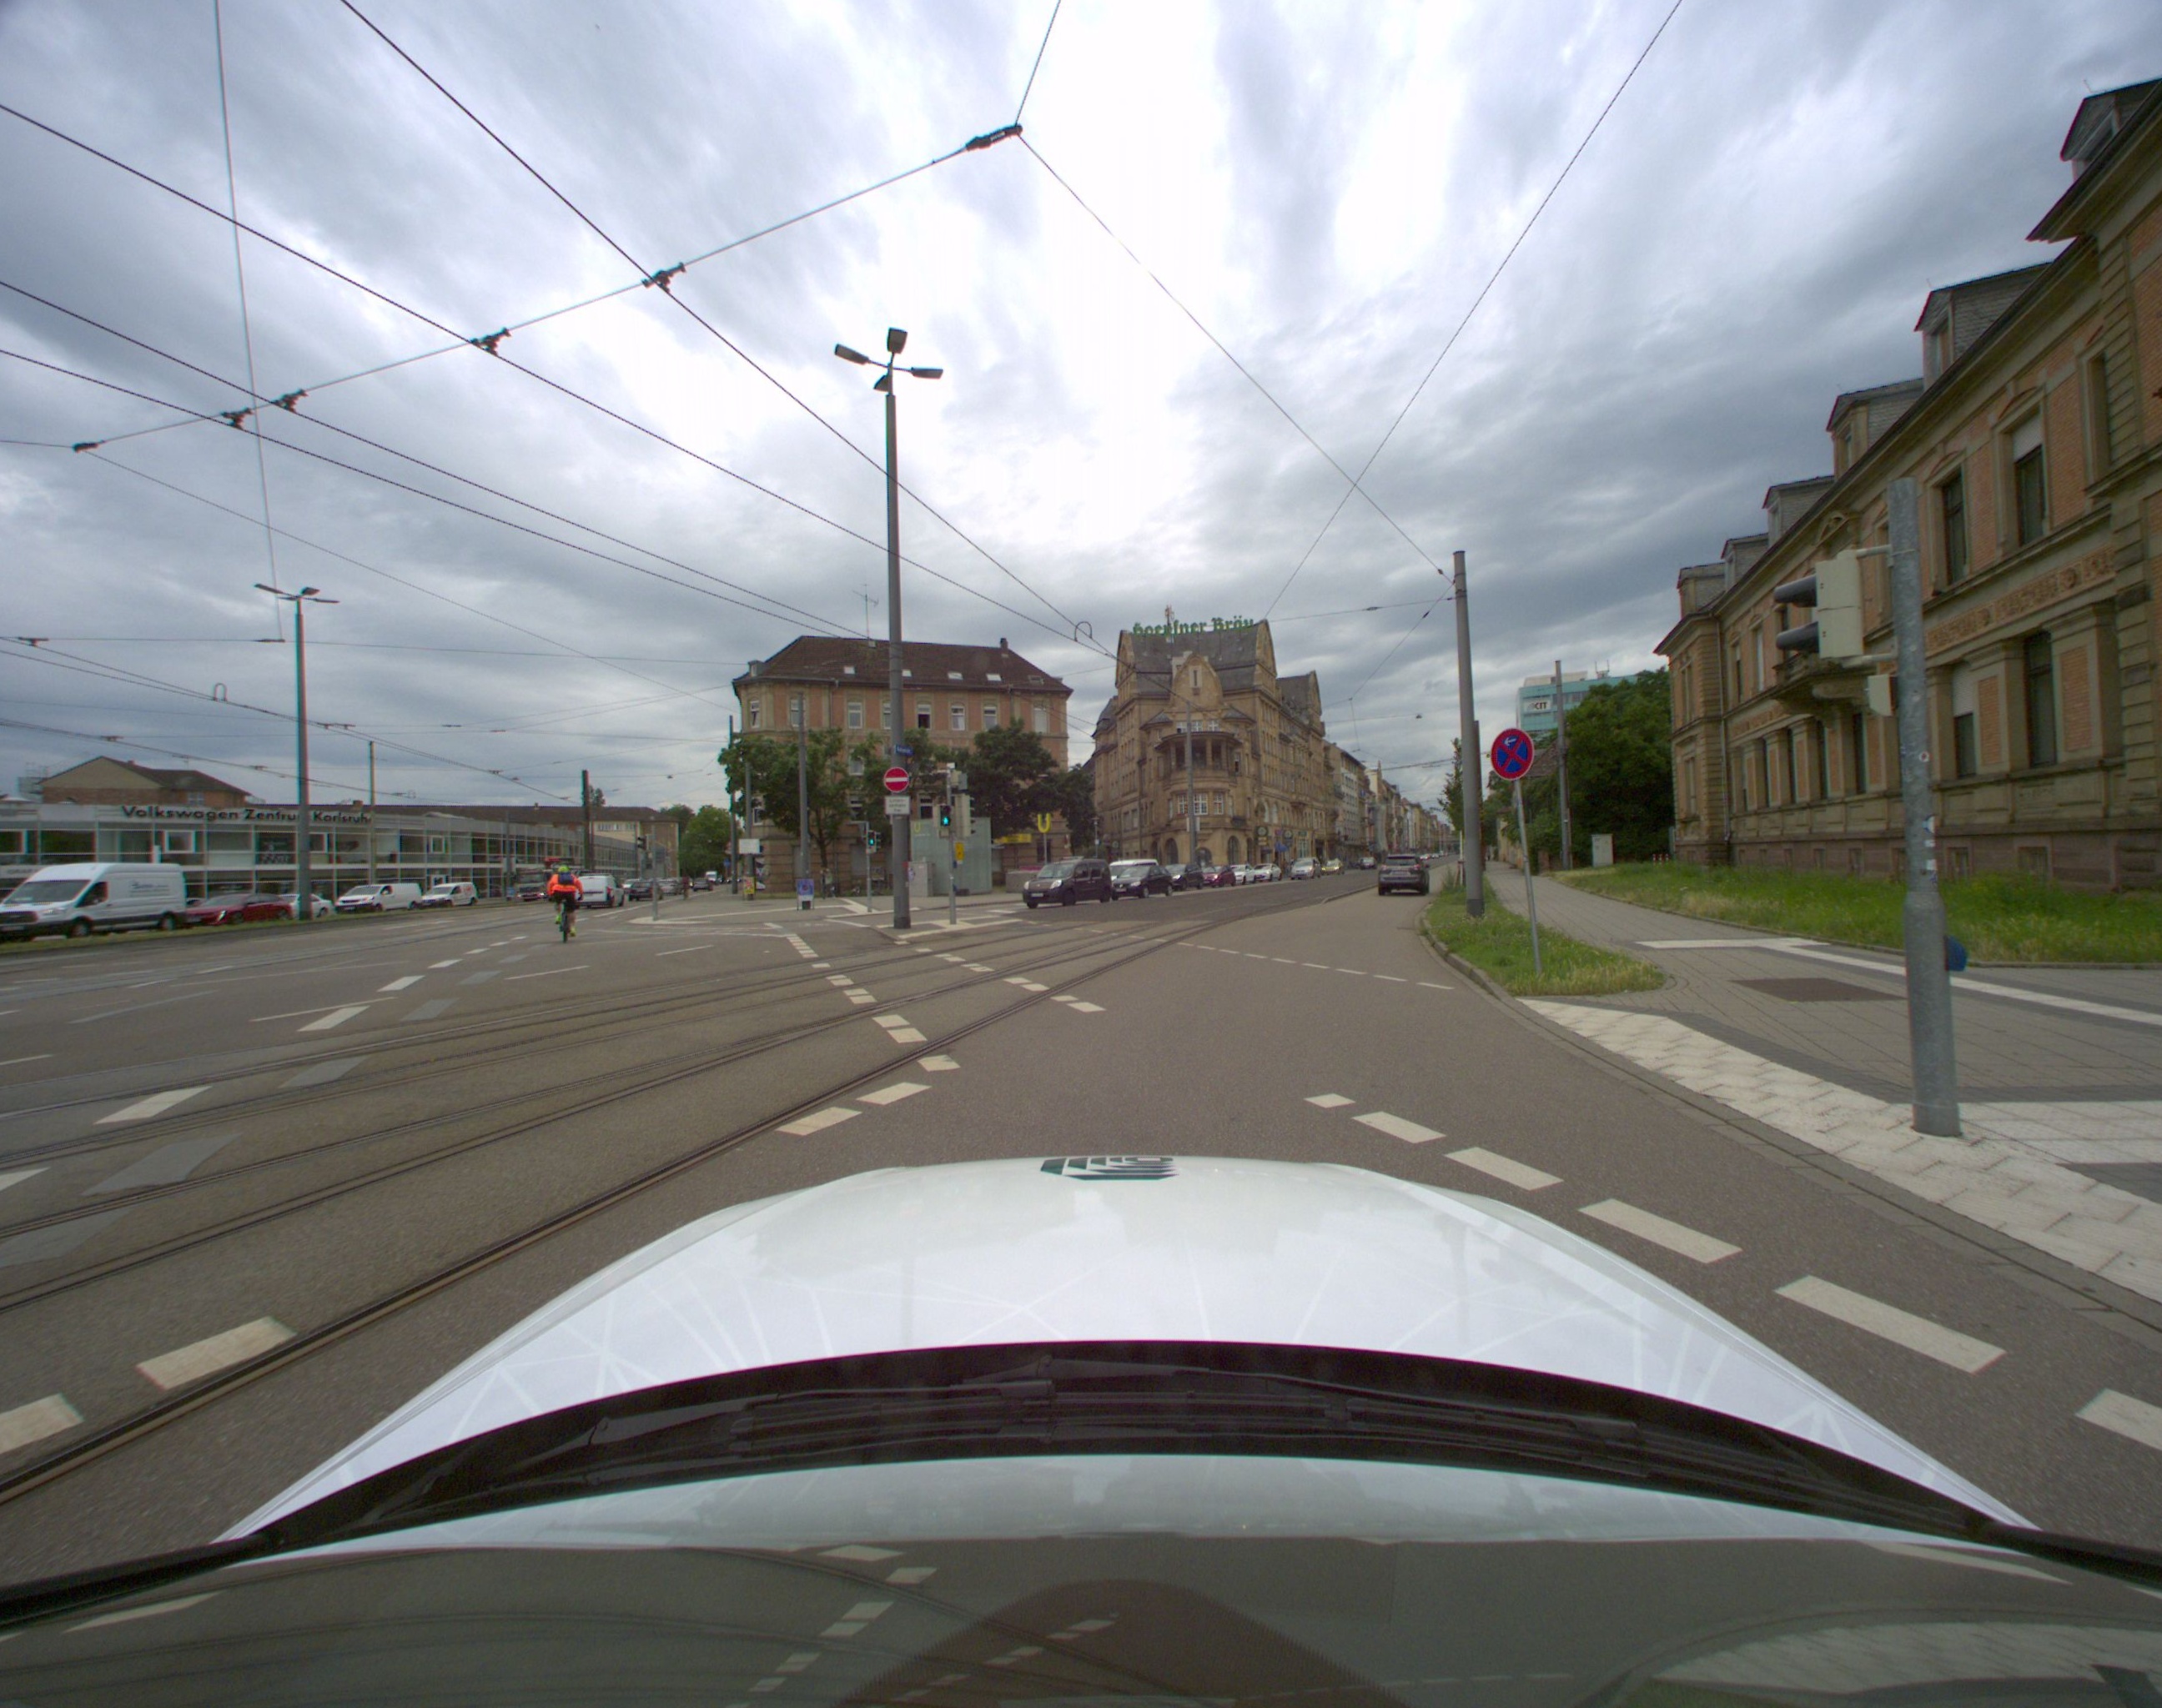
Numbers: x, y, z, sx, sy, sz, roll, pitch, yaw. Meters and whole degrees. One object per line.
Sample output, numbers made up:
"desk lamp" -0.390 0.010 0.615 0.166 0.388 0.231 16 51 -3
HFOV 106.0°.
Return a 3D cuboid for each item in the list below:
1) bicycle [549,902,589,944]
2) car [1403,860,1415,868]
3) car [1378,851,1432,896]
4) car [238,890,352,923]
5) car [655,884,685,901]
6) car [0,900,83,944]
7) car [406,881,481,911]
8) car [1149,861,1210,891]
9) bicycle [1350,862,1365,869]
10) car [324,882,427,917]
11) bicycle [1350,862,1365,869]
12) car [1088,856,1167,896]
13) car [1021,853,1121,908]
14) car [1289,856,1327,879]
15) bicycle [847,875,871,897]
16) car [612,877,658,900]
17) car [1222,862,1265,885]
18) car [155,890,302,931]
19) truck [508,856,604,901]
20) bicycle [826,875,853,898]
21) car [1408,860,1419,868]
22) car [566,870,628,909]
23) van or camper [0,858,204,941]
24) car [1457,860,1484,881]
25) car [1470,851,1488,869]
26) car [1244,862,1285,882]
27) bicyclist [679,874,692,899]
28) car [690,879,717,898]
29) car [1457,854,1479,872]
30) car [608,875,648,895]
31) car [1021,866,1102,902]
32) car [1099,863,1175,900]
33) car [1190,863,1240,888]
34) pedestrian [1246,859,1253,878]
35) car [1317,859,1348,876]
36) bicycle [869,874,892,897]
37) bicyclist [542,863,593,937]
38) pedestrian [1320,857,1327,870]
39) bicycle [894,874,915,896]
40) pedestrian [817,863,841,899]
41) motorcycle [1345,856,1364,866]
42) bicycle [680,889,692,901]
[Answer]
"bicycle" -11.788 1.568 18.725 0.561 0.848 2.049 -1 -1 -38
"car" 62.006 1.821 153.987 1.743 1.449 4.641 -2 -1 26
"car" 13.579 0.768 34.014 1.733 1.756 3.947 -1 0 26
"car" -41.668 2.745 43.359 1.993 1.420 4.734 -2 -1 -10
"car" -36.748 3.418 72.911 1.858 1.508 3.974 -1 -2 -19
"car" -38.007 2.423 28.582 1.639 1.420 4.246 -2 -1 -16
"car" -43.810 2.822 56.088 1.992 1.839 4.511 -2 -1 -7
"car" 5.796 1.261 47.538 1.845 1.534 4.329 -5 -2 31
"bicycle" 39.232 1.661 115.633 1.906 1.001 0.465 -2 -1 18
"car" -42.695 2.689 49.476 2.157 1.856 5.428 -2 -1 -10
"bicycle" 39.486 1.652 116.291 1.950 1.001 0.465 -2 -1 18
"car" 2.467 1.100 42.087 1.845 1.916 5.132 -2 -1 31
"car" -0.288 0.965 30.660 1.672 1.900 4.413 -3 -1 30
"car" 18.041 1.044 64.611 1.845 1.706 4.938 -4 -2 27
"bicycle" -13.742 1.967 50.496 0.956 1.354 3.114 -1 -2 -6
"car" -30.981 2.351 56.670 1.998 1.420 3.976 -2 -1 -17
"car" 11.488 1.367 57.241 1.730 1.380 4.388 -5 -2 27
"car" -36.424 2.358 35.006 1.995 1.420 4.781 -2 -1 -12
"truck" -45.271 2.128 70.667 2.788 3.550 9.209 -1 -2 -4
"bicycle" -14.878 1.982 50.243 0.956 1.354 3.114 -1 -2 -6
"car" 70.611 2.048 172.703 1.743 1.672 4.641 -2 -1 26
"car" -26.252 1.868 44.300 1.917 1.940 4.106 -2 -1 -17
"van or camper" -34.638 1.538 28.719 2.422 2.611 6.012 -1 -2 -19
"car" 29.404 1.222 61.481 1.622 1.434 3.953 -5 -2 26
"car" 51.376 0.816 105.107 1.834 2.115 5.013 -5 -2 26
"car" 14.124 1.381 62.592 1.908 1.380 4.284 -2 -1 29
"bicyclist" -27.404 2.250 56.443 0.692 1.708 0.790 -1 -1 -31
"car" -42.175 3.833 90.962 1.997 2.014 3.980 -1 -2 -14
"car" 36.666 0.855 77.203 1.739 1.574 3.953 -5 -2 25
"car" -46.379 3.169 83.412 1.992 1.839 4.511 -2 -1 -7
"car" -0.806 1.287 35.960 1.672 1.442 4.025 -3 -1 30
"car" 2.512 1.161 35.500 1.672 1.442 4.025 -3 -1 30
"car" 8.631 1.360 52.208 1.845 1.399 3.919 -5 -2 29
"pedestrian" 15.046 1.292 72.699 0.626 1.719 0.534 -2 -1 12
"car" 24.550 1.276 79.360 1.881 1.511 4.455 -4 -2 29
"bicycle" -12.466 1.949 50.800 0.956 1.354 3.114 -1 -2 -6
"bicyclist" -11.845 1.039 18.787 0.834 1.621 1.306 -1 -1 -38
"pedestrian" 30.177 1.130 101.325 0.562 1.598 0.722 -2 -1 26
"bicycle" -11.151 1.942 51.482 0.956 1.354 3.114 -1 -2 -6
"pedestrian" -12.152 1.293 39.208 0.917 1.728 0.595 -1 -1 -39
"motorcycle" 38.199 1.027 113.816 2.337 1.303 0.880 -2 -1 -11
"bicycle" -27.380 2.823 56.426 0.623 0.793 1.576 -1 -1 -31
